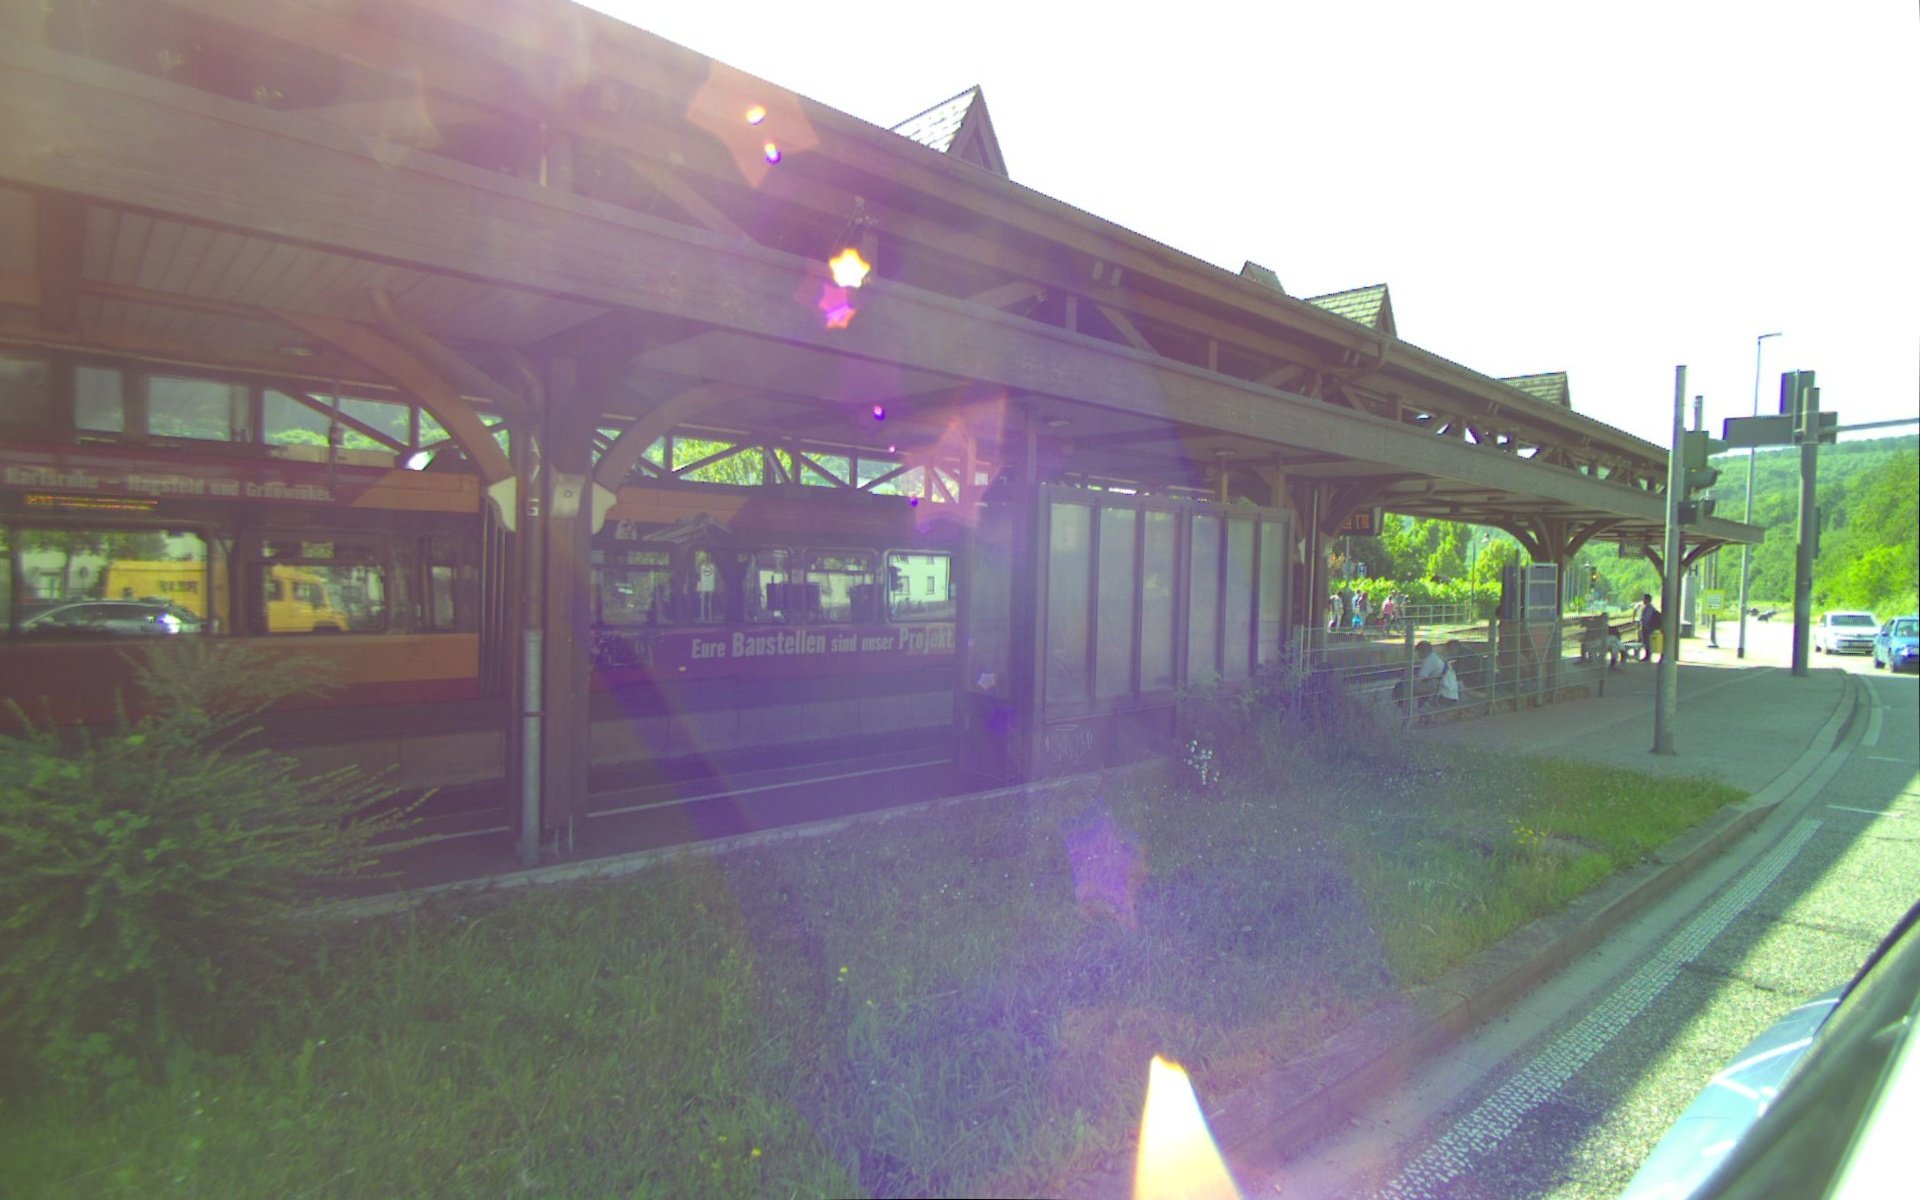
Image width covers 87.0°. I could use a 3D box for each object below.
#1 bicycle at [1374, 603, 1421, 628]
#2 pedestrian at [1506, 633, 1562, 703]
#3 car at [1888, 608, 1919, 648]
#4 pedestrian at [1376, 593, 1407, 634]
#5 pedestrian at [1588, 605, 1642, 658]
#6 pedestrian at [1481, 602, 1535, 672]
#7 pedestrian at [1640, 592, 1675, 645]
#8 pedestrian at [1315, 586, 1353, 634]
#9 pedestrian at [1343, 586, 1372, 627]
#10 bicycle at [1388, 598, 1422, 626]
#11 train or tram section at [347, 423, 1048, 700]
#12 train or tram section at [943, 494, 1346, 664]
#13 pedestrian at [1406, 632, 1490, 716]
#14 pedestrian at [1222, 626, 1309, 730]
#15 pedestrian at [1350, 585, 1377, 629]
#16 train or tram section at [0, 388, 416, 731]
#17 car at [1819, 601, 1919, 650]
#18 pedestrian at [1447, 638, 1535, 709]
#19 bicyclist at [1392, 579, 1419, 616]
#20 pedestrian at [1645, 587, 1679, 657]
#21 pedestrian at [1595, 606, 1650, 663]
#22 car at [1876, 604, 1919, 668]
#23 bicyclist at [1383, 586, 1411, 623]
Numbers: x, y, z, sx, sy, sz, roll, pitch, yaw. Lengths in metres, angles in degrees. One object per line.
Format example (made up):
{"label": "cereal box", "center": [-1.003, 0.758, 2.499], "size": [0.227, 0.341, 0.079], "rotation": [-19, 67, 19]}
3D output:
{"label": "bicycle", "center": [19.070, 0.694, 44.109], "size": [1.802, 1.069, 0.596], "rotation": [-1, -1, 36]}
{"label": "pedestrian", "center": [8.281, 0.966, 14.612], "size": [0.617, 0.978, 0.400], "rotation": [-1, -3, 44]}
{"label": "car", "center": [38.599, 1.114, 40.170], "size": [1.967, 1.523, 3.938], "rotation": [0, -1, 33]}
{"label": "pedestrian", "center": [17.928, 0.566, 42.054], "size": [0.805, 1.706, 0.905], "rotation": [1, -2, -12]}
{"label": "pedestrian", "center": [15.407, 0.721, 23.791], "size": [1.004, 1.174, 0.936], "rotation": [0, 0, 38]}
{"label": "pedestrian", "center": [12.784, 0.841, 23.594], "size": [0.907, 1.567, 0.861], "rotation": [2, -1, -45]}
{"label": "pedestrian", "center": [23.707, 0.644, 34.401], "size": [0.911, 1.759, 1.234], "rotation": [-1, -2, 37]}
{"label": "pedestrian", "center": [14.721, 0.398, 39.857], "size": [1.054, 1.867, 0.989], "rotation": [3, -2, -39]}
{"label": "pedestrian", "center": [16.829, 0.284, 42.855], "size": [0.865, 1.706, 0.809], "rotation": [-2, -3, 44]}
{"label": "bicycle", "center": [21.237, 0.589, 48.280], "size": [0.869, 1.270, 2.261], "rotation": [-1, -2, 40]}
{"label": "train or tram section", "center": [-3.513, -0.497, 17.504], "size": [11.844, 3.407, 2.789], "rotation": [0, -1, -43]}
{"label": "train or tram section", "center": [5.602, -0.430, 26.372], "size": [2.857, 3.407, 14.121], "rotation": [0, 0, 45]}
{"label": "pedestrian", "center": [6.064, 0.897, 12.584], "size": [0.742, 0.995, 0.757], "rotation": [-1, -2, 44]}
{"label": "pedestrian", "center": [3.477, 0.860, 11.522], "size": [0.742, 1.131, 0.656], "rotation": [-1, -3, 44]}
{"label": "pedestrian", "center": [15.801, 0.284, 39.670], "size": [0.895, 1.706, 0.814], "rotation": [-1, -2, 28]}
{"label": "train or tram section", "center": [-12.049, -0.410, 9.591], "size": [11.840, 3.407, 2.759], "rotation": [1, -2, -42]}
{"label": "car", "center": [31.617, 0.872, 35.317], "size": [1.985, 1.605, 3.952], "rotation": [-1, -1, 33]}
{"label": "pedestrian", "center": [7.070, 0.954, 13.479], "size": [0.845, 0.885, 0.795], "rotation": [-1, -2, 44]}
{"label": "bicyclist", "center": [21.294, -0.114, 48.367], "size": [1.006, 1.748, 0.853], "rotation": [-1, -2, 41]}
{"label": "pedestrian", "center": [17.569, 0.547, 25.326], "size": [0.655, 1.713, 0.729], "rotation": [1, 0, 37]}
{"label": "pedestrian", "center": [14.846, 0.759, 22.681], "size": [0.989, 1.252, 0.588], "rotation": [-1, -2, 38]}
{"label": "car", "center": [24.743, 0.891, 25.536], "size": [1.855, 1.501, 4.247], "rotation": [1, 1, 35]}
{"label": "bicyclist", "center": [19.063, 0.194, 44.167], "size": [0.941, 1.589, 0.777], "rotation": [-1, -1, 36]}
